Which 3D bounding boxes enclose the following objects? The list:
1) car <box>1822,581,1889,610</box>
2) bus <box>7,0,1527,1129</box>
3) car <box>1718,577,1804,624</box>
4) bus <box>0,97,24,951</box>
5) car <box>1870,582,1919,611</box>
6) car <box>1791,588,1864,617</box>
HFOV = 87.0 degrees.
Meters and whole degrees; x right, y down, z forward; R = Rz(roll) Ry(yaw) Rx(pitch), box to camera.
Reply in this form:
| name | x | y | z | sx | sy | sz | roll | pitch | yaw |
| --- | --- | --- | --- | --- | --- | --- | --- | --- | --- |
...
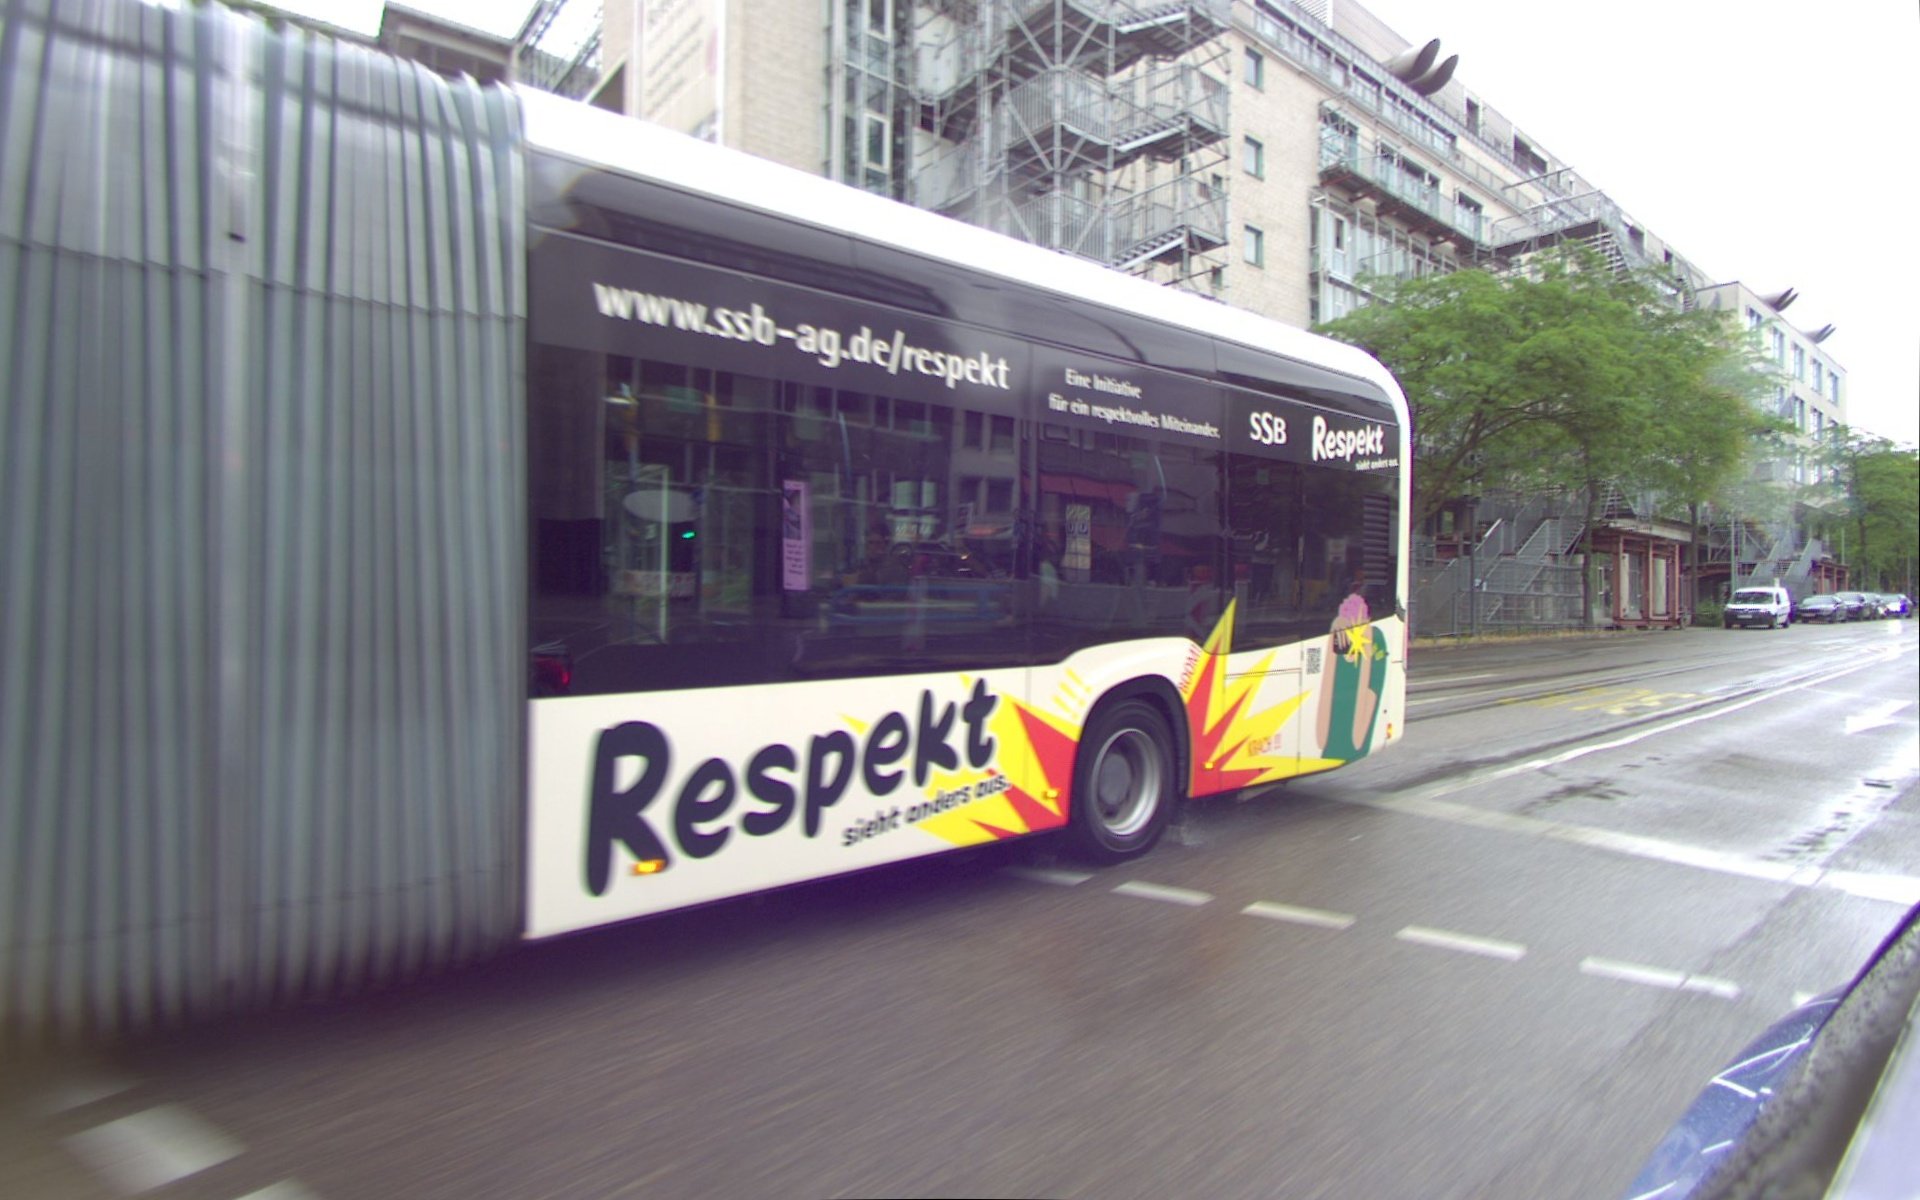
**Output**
| name | x | y | z | sx | sy | sz | roll | pitch | yaw |
| --- | --- | --- | --- | --- | --- | --- | --- | --- | --- |
| car | 49.174 | -0.266 | 55.560 | 4.733 | 1.513 | 2.145 | -1 | 1 | -41 |
| bus | 0.308 | -0.420 | 6.778 | 9.538 | 3.483 | 2.889 | 0 | 0 | -40 |
| car | 34.955 | 0.009 | 44.132 | 4.254 | 1.930 | 2.211 | -1 | 1 | -41 |
| bus | -7.175 | -0.286 | 0.539 | 9.584 | 3.494 | 2.889 | -1 | 0 | -40 |
| car | 57.884 | -0.222 | 62.316 | 4.733 | 1.667 | 2.145 | -1 | 1 | -41 |
| car | 44.007 | 0.096 | 51.328 | 4.733 | 1.353 | 2.145 | -1 | 1 | -41 |
